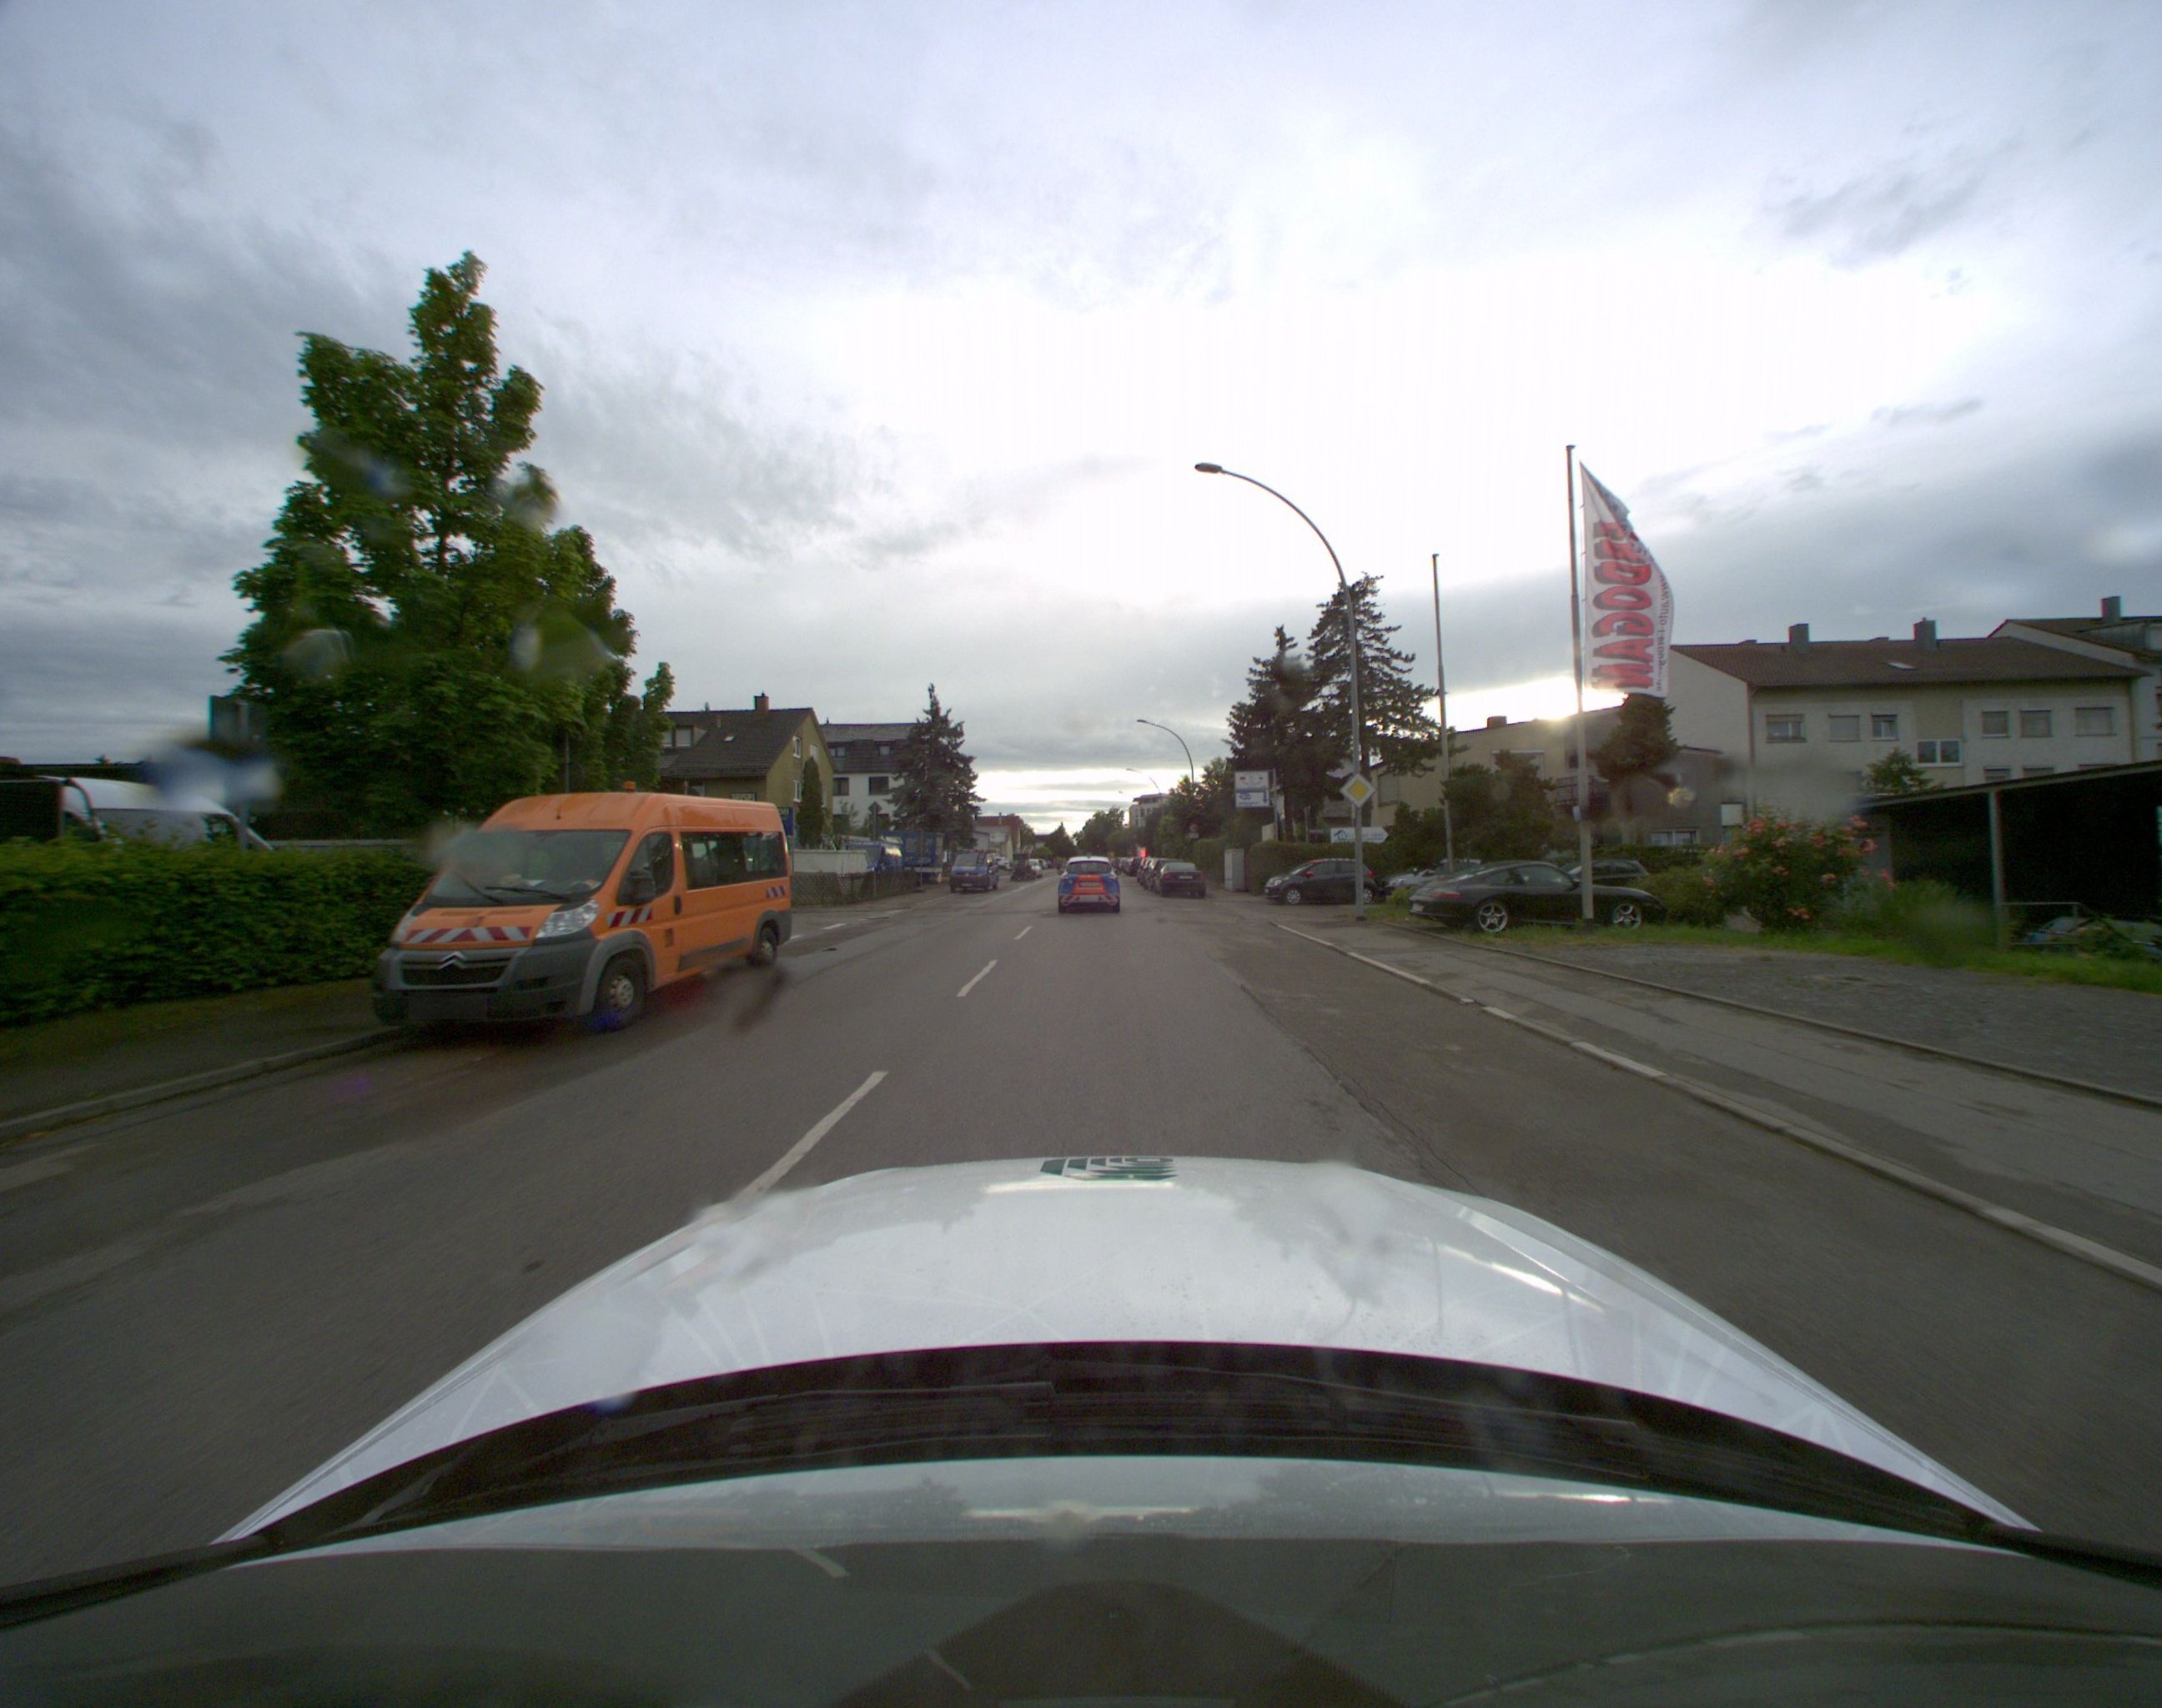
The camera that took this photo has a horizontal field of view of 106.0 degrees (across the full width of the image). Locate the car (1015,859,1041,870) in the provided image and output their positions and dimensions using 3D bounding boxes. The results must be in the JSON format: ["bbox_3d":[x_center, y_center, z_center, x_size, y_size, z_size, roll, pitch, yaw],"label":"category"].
[{"bbox_3d":[-7.808,1.568,120.034,3.751,1.576,1.653,0,-1,-3],"label":"car"}]

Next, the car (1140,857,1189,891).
[{"bbox_3d":[3.731,0.885,36.925,1.652,1.419,4.774,0,-1,-1],"label":"car"}]

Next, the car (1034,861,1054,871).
[{"bbox_3d":[-6.255,2.021,136.286,3.274,1.448,1.478,-2,0,-3],"label":"car"}]

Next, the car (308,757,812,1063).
[{"bbox_3d":[-5.474,0.486,10.000,2.117,2.537,6.023,-2,0,1],"label":"car"}]

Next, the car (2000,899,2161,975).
[{"bbox_3d":[20.445,1.581,15.595,1.582,1.266,3.551,1,-1,-5],"label":"car"}]

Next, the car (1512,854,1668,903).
[{"bbox_3d":[16.644,0.797,26.769,3.931,1.508,1.943,0,-1,-1],"label":"car"}]

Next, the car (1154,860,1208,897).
[{"bbox_3d":[3.880,0.920,32.205,1.584,1.341,4.092,2,0,0],"label":"car"}]

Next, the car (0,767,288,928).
[{"bbox_3d":[-14.195,-0.082,11.314,4.290,2.014,2.063,0,-1,1],"label":"car"}]

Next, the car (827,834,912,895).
[{"bbox_3d":[-9.624,0.500,37.731,2.067,2.567,6.204,0,-1,2],"label":"car"}]

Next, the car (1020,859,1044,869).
[{"bbox_3d":[-7.467,1.599,124.393,3.751,1.483,1.653,0,-1,-3],"label":"car"}]

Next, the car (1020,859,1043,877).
[{"bbox_3d":[-4.033,1.150,66.871,1.551,1.433,4.001,0,-1,1],"label":"car"}]

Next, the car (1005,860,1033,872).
[{"bbox_3d":[-8.308,1.635,109.450,3.572,1.526,1.653,0,-1,-3],"label":"car"}]

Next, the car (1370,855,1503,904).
[{"bbox_3d":[11.651,0.817,26.833,3.603,1.538,1.859,0,-1,-1],"label":"car"}]

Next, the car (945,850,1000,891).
[{"bbox_3d":[-5.410,0.846,41.407,1.987,1.947,5.365,0,-1,1],"label":"car"}]

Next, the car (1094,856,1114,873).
[{"bbox_3d":[2.010,0.937,72.479,1.645,1.522,3.999,0,-1,0],"label":"car"}]

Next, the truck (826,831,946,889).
[{"bbox_3d":[-10.587,0.327,44.650,5.889,3.073,2.450,0,-1,1],"label":"truck"}]

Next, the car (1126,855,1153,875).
[{"bbox_3d":[4.580,0.868,64.199,1.706,1.438,4.524,0,-1,-1],"label":"car"}]

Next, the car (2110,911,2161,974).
[{"bbox_3d":[23.186,1.834,15.695,1.810,1.234,3.784,1,-1,-7],"label":"car"}]

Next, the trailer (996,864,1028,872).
[{"bbox_3d":[-9.051,1.880,106.988,4.010,0.995,1.655,0,-1,-1],"label":"trailer"}]

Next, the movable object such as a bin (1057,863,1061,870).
[{"bbox_3d":[-3.566,1.975,130.307,0.577,1.204,0.319,0,-1,1],"label":"movable object such as a bin"}]

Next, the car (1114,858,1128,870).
[{"bbox_3d":[5.537,1.381,112.641,1.645,1.522,3.999,0,-1,0],"label":"car"}]

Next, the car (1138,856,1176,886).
[{"bbox_3d":[3.883,0.835,42.124,1.652,1.449,3.829,0,0,1],"label":"car"}]

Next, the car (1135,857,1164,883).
[{"bbox_3d":[4.026,0.927,48.504,1.481,1.439,3.807,0,0,1],"label":"car"}]

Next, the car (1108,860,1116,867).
[{"bbox_3d":[6.316,1.994,166.350,1.645,1.483,3.999,0,-1,0],"label":"car"}]

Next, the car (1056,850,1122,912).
[{"bbox_3d":[0.235,0.735,23.531,1.726,1.631,3.494,-1,-1,1],"label":"car"}]

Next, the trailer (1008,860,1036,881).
[{"bbox_3d":[-4.232,1.175,59.235,1.712,1.260,5.243,1,1,-1],"label":"trailer"}]

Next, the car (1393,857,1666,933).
[{"bbox_3d":[8.081,0.717,14.995,3.970,1.266,1.952,0,-1,3],"label":"car"}]

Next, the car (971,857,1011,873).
[{"bbox_3d":[-8.874,1.061,80.151,3.748,1.568,1.655,0,-1,-1],"label":"car"}]

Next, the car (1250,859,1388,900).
[{"bbox_3d":[7.720,0.810,26.704,3.974,1.266,1.950,0,-1,-1],"label":"car"}]

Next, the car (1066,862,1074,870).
[{"bbox_3d":[-1.988,2.113,145.263,1.382,1.483,3.783,-1,-1,0],"label":"car"}]
